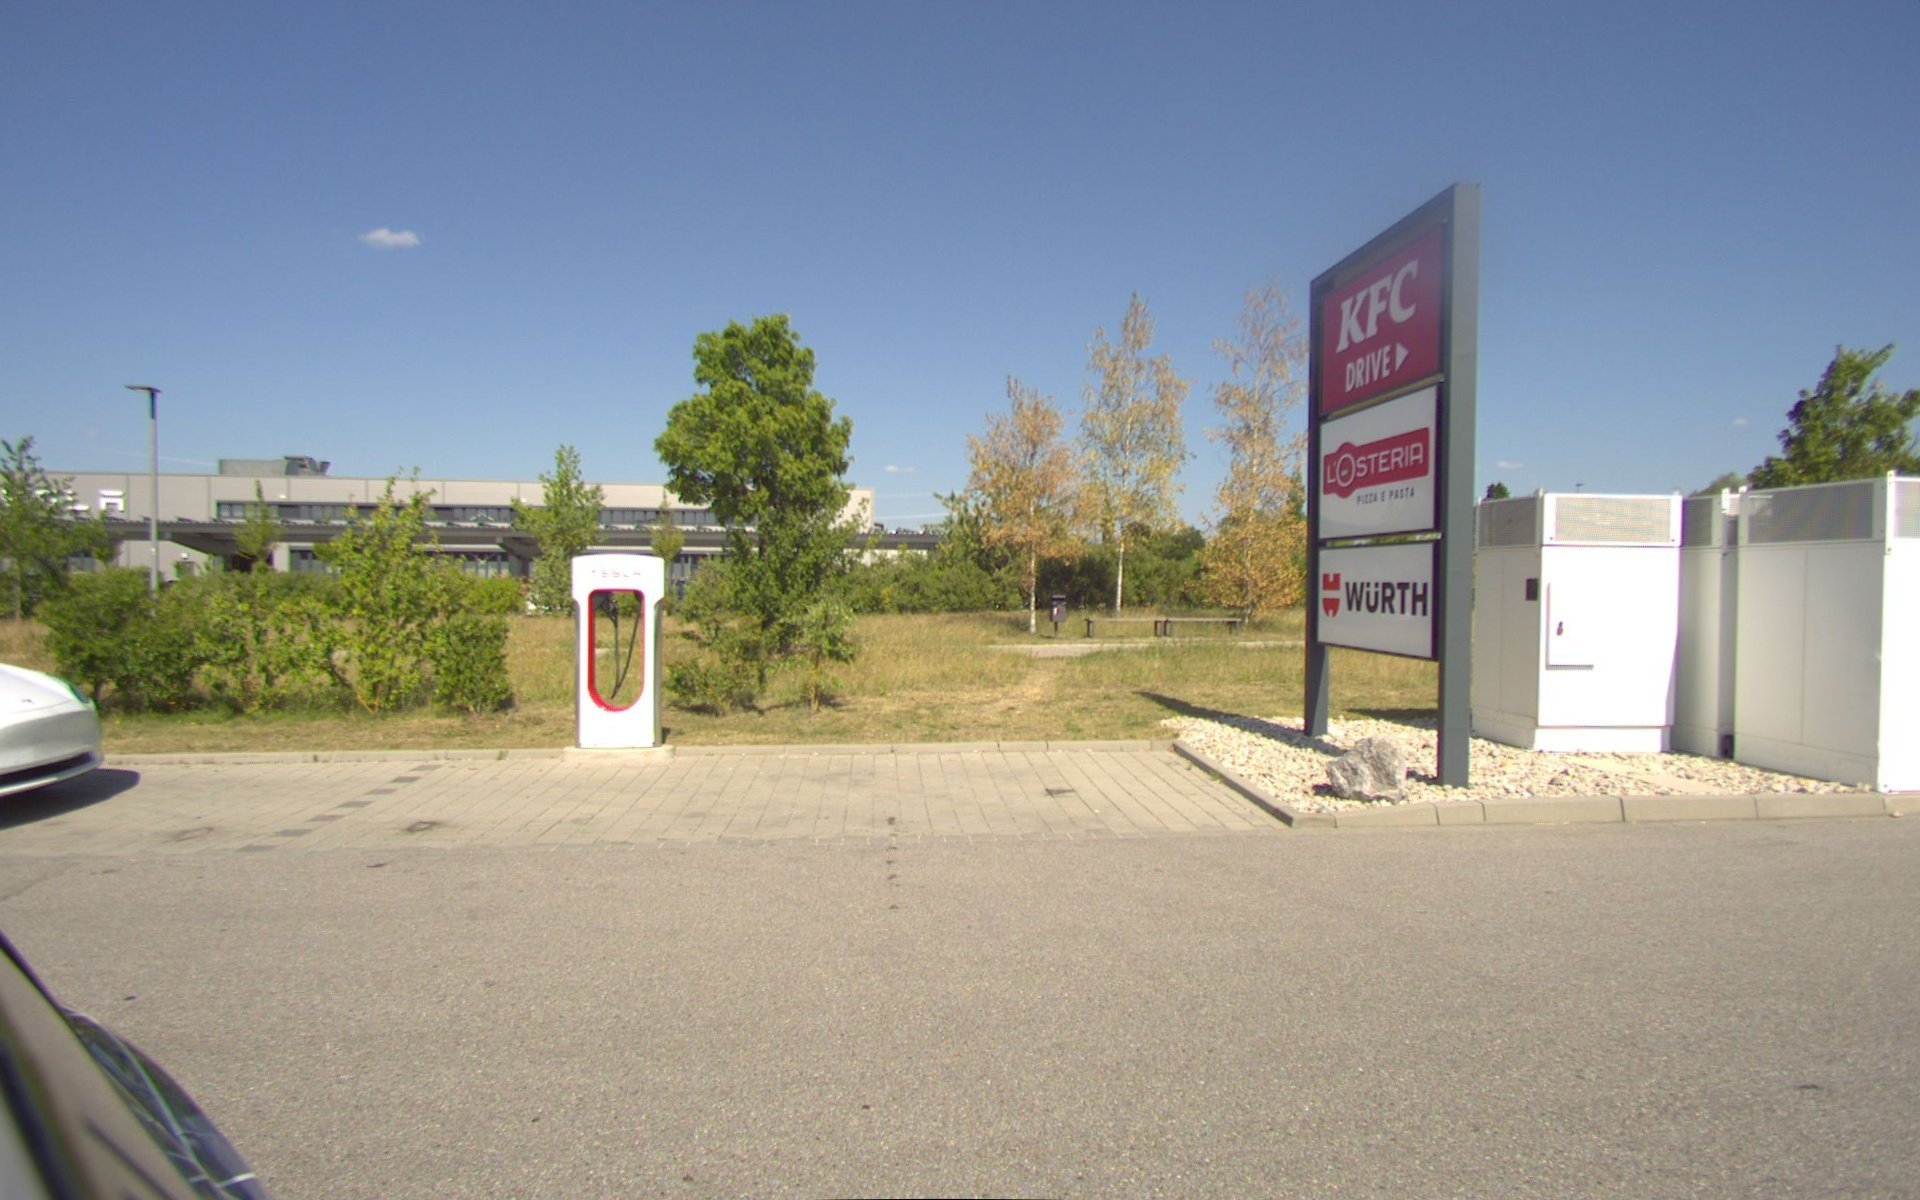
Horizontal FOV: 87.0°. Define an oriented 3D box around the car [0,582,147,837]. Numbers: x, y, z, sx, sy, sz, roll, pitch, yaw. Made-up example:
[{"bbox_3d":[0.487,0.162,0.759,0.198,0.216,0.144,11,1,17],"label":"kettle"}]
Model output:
[{"bbox_3d":[-8.357,0.689,6.614,4.418,1.612,1.873,0,1,-8],"label":"car"}]
